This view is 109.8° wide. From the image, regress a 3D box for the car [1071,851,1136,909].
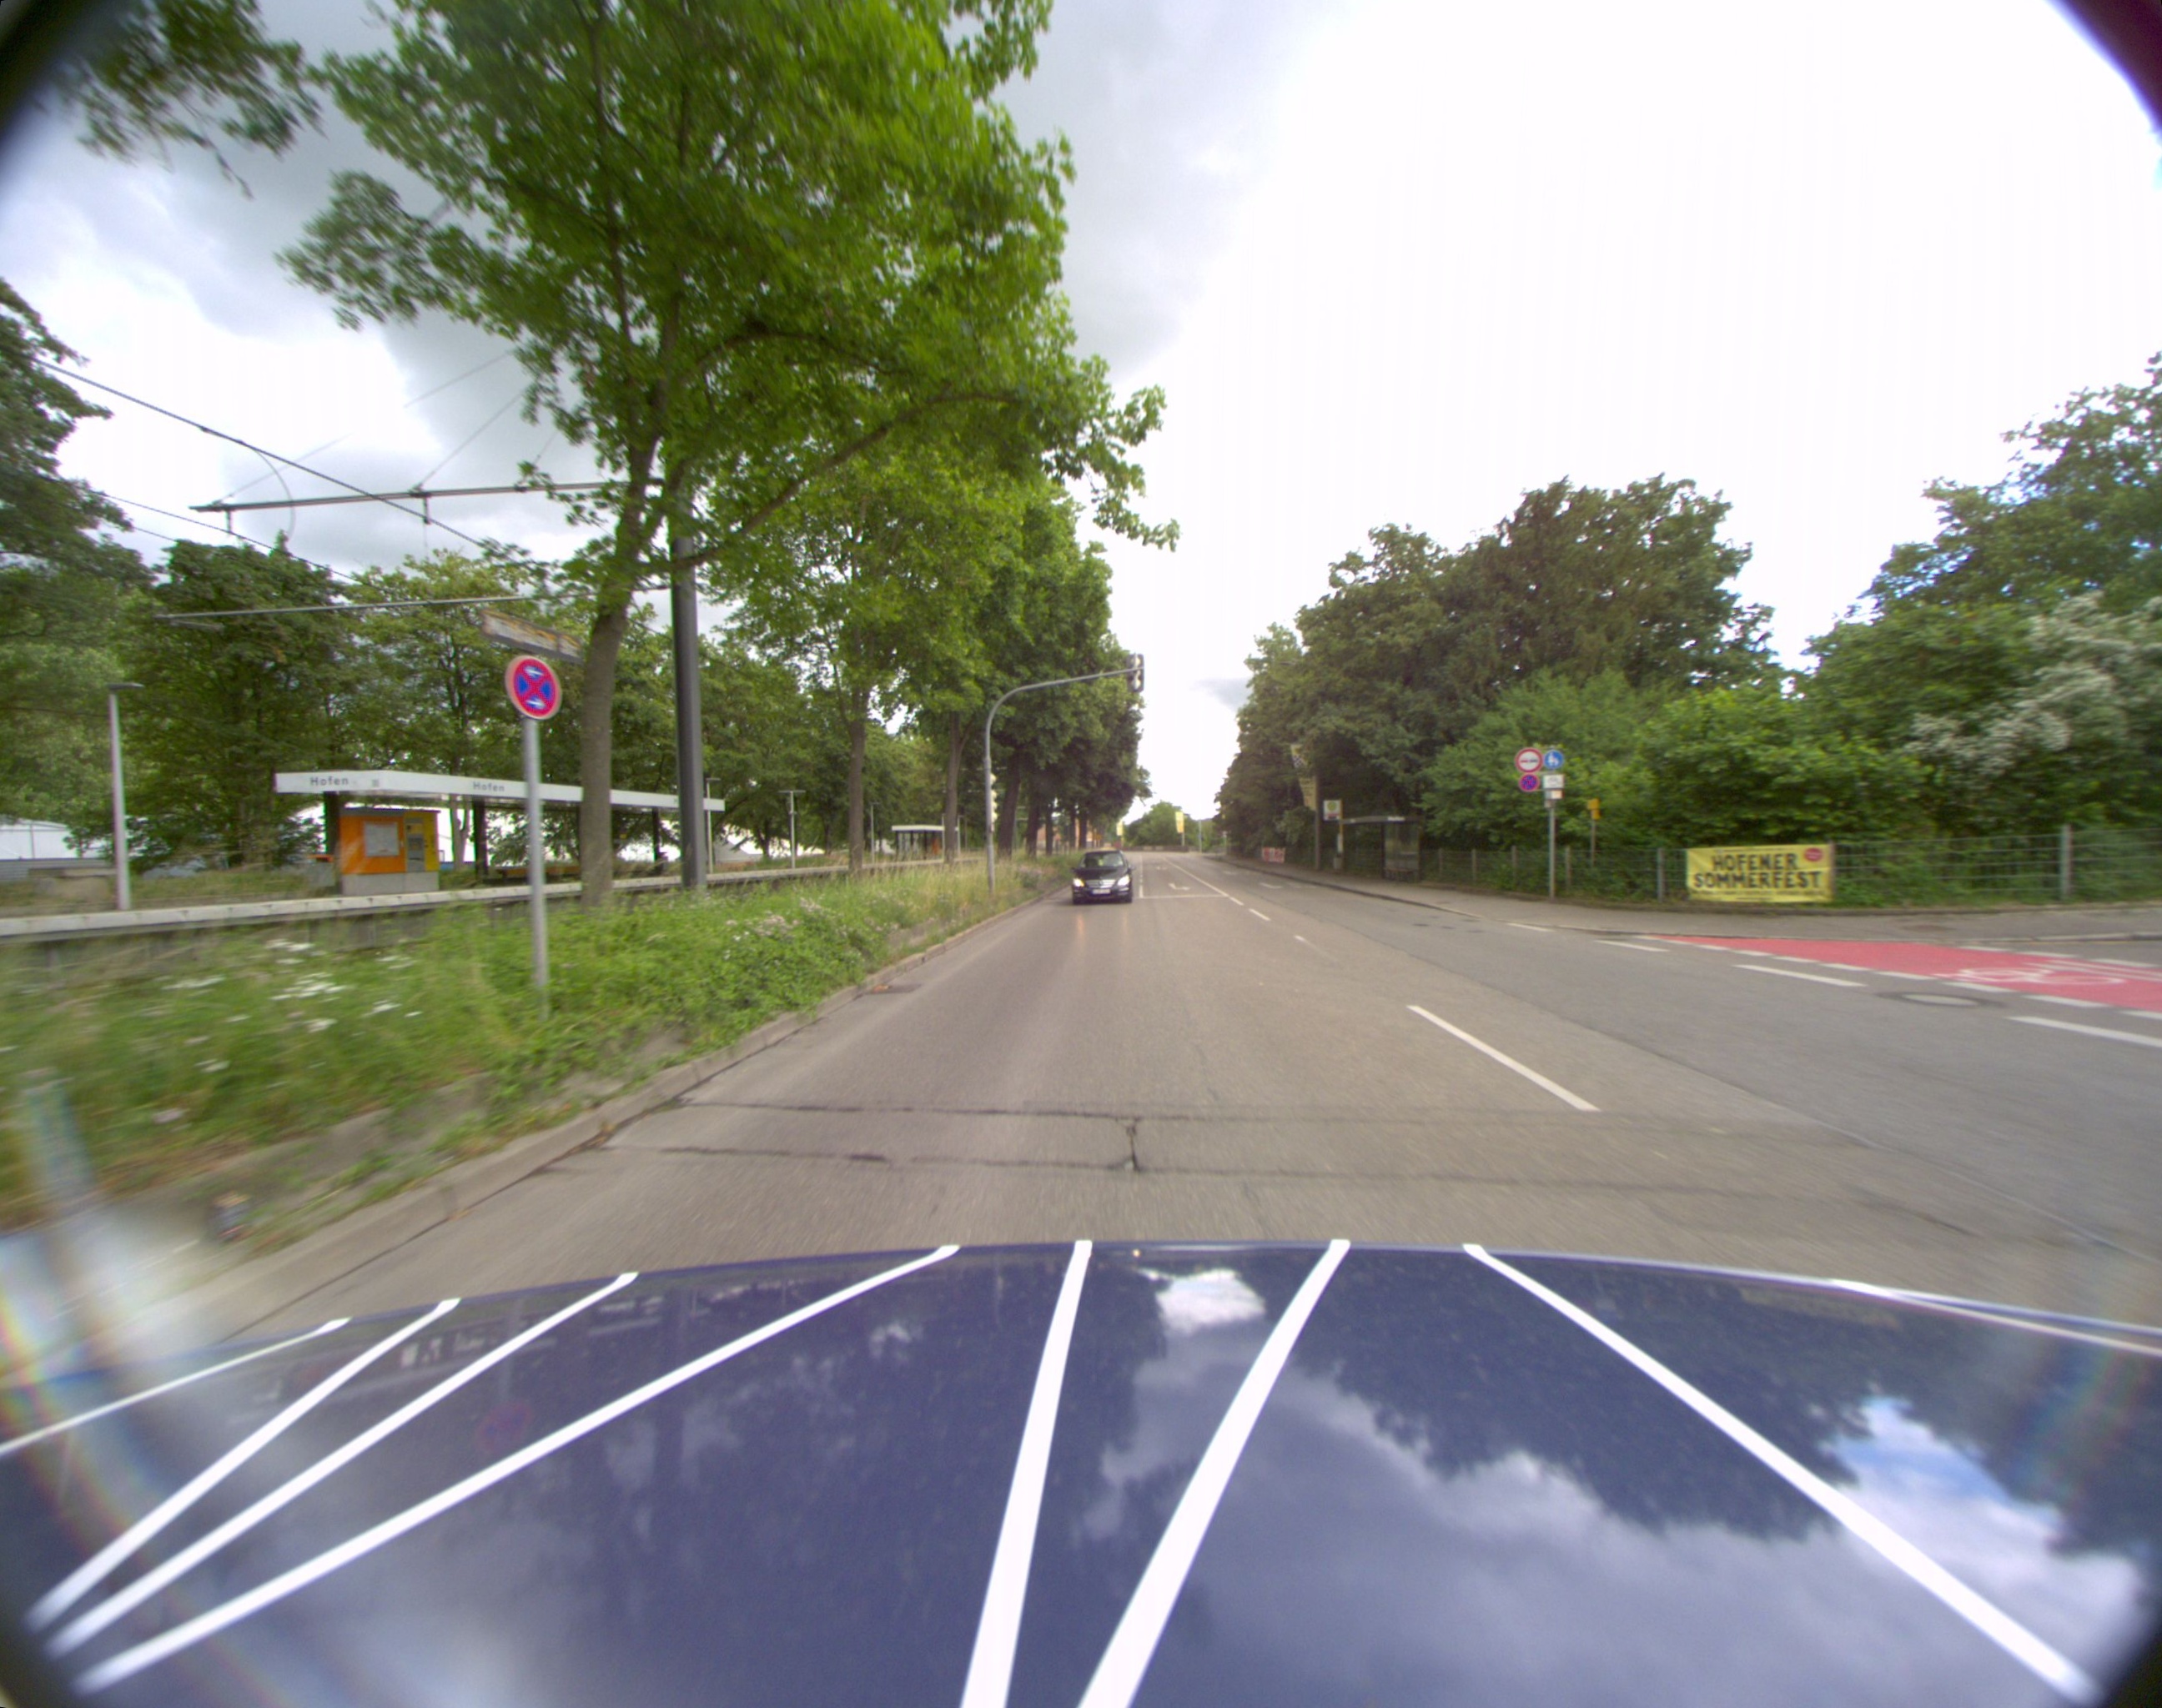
[{"bbox_3d":[0.775,0.722,23.427,1.750,1.556,4.075,0,1,5],"label":"car"}]
